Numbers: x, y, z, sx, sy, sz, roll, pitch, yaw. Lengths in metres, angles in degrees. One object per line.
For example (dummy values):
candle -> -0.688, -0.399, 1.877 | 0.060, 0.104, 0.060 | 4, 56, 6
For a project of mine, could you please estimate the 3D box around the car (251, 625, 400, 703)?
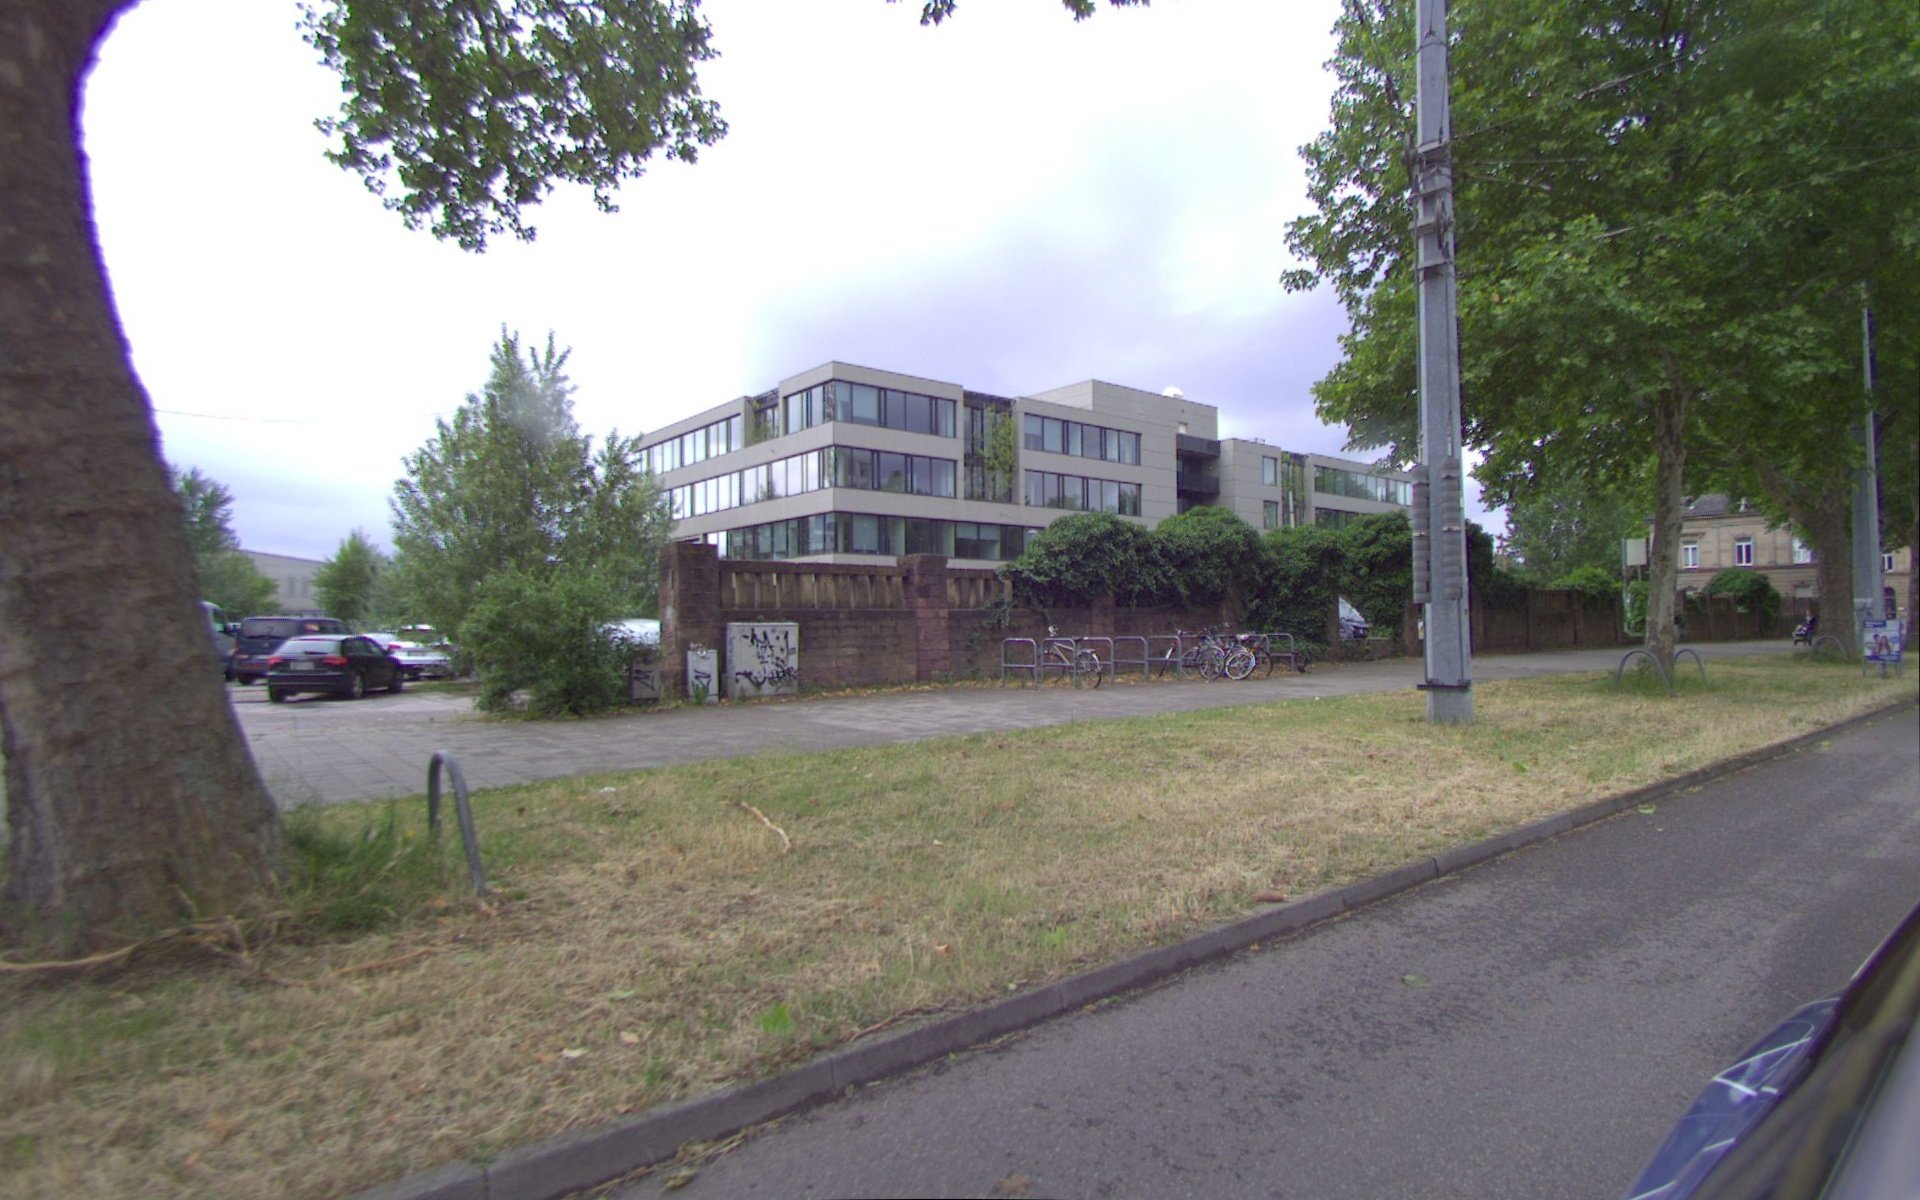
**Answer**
car -> -14.328, 1.373, 23.118 | 1.958, 1.538, 4.007 | -1, -1, -18

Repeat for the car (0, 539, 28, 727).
car -> -13.673, 0.418, 12.778 | 2.130, 2.556, 5.798 | 1, -4, -37

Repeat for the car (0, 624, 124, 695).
car -> -24.683, 1.508, 26.751 | 1.958, 1.671, 4.729 | -1, -1, -11

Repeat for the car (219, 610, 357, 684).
car -> -19.558, 1.311, 29.673 | 1.958, 1.973, 4.006 | -1, -1, -11

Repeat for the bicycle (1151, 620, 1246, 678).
bicycle -> 4.890, 0.984, 20.881 | 0.540, 1.108, 1.978 | 0, 0, -40

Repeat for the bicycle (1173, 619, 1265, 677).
bicycle -> 5.409, 0.981, 21.235 | 0.540, 1.111, 1.903 | 0, 0, -40

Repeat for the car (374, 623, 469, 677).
car -> -16.810, 1.509, 31.764 | 1.958, 1.538, 4.007 | -1, -1, -18

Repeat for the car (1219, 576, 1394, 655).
car -> 11.715, 0.591, 34.553 | 2.039, 2.453, 5.237 | 0, -3, -41

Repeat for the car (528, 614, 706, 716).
car -> -6.209, 1.106, 18.084 | 1.720, 1.600, 3.771 | 0, -2, -41

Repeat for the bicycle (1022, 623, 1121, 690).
bicycle -> 1.991, 0.993, 18.308 | 0.540, 1.105, 1.925 | 0, 0, -40

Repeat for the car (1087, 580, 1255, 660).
car -> 6.470, 0.672, 31.572 | 1.637, 2.293, 5.101 | 0, -2, -41

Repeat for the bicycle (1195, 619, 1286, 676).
bicycle -> 5.932, 0.987, 21.484 | 0.540, 1.119, 1.893 | 0, 0, -40

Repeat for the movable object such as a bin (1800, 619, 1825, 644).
movable object such as a bin -> 39.022, 1.441, 46.329 | 0.995, 1.126, 0.613 | 1, -2, -34

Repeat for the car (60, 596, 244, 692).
car -> -22.012, 1.128, 27.853 | 1.958, 2.374, 4.729 | -1, -1, -11
